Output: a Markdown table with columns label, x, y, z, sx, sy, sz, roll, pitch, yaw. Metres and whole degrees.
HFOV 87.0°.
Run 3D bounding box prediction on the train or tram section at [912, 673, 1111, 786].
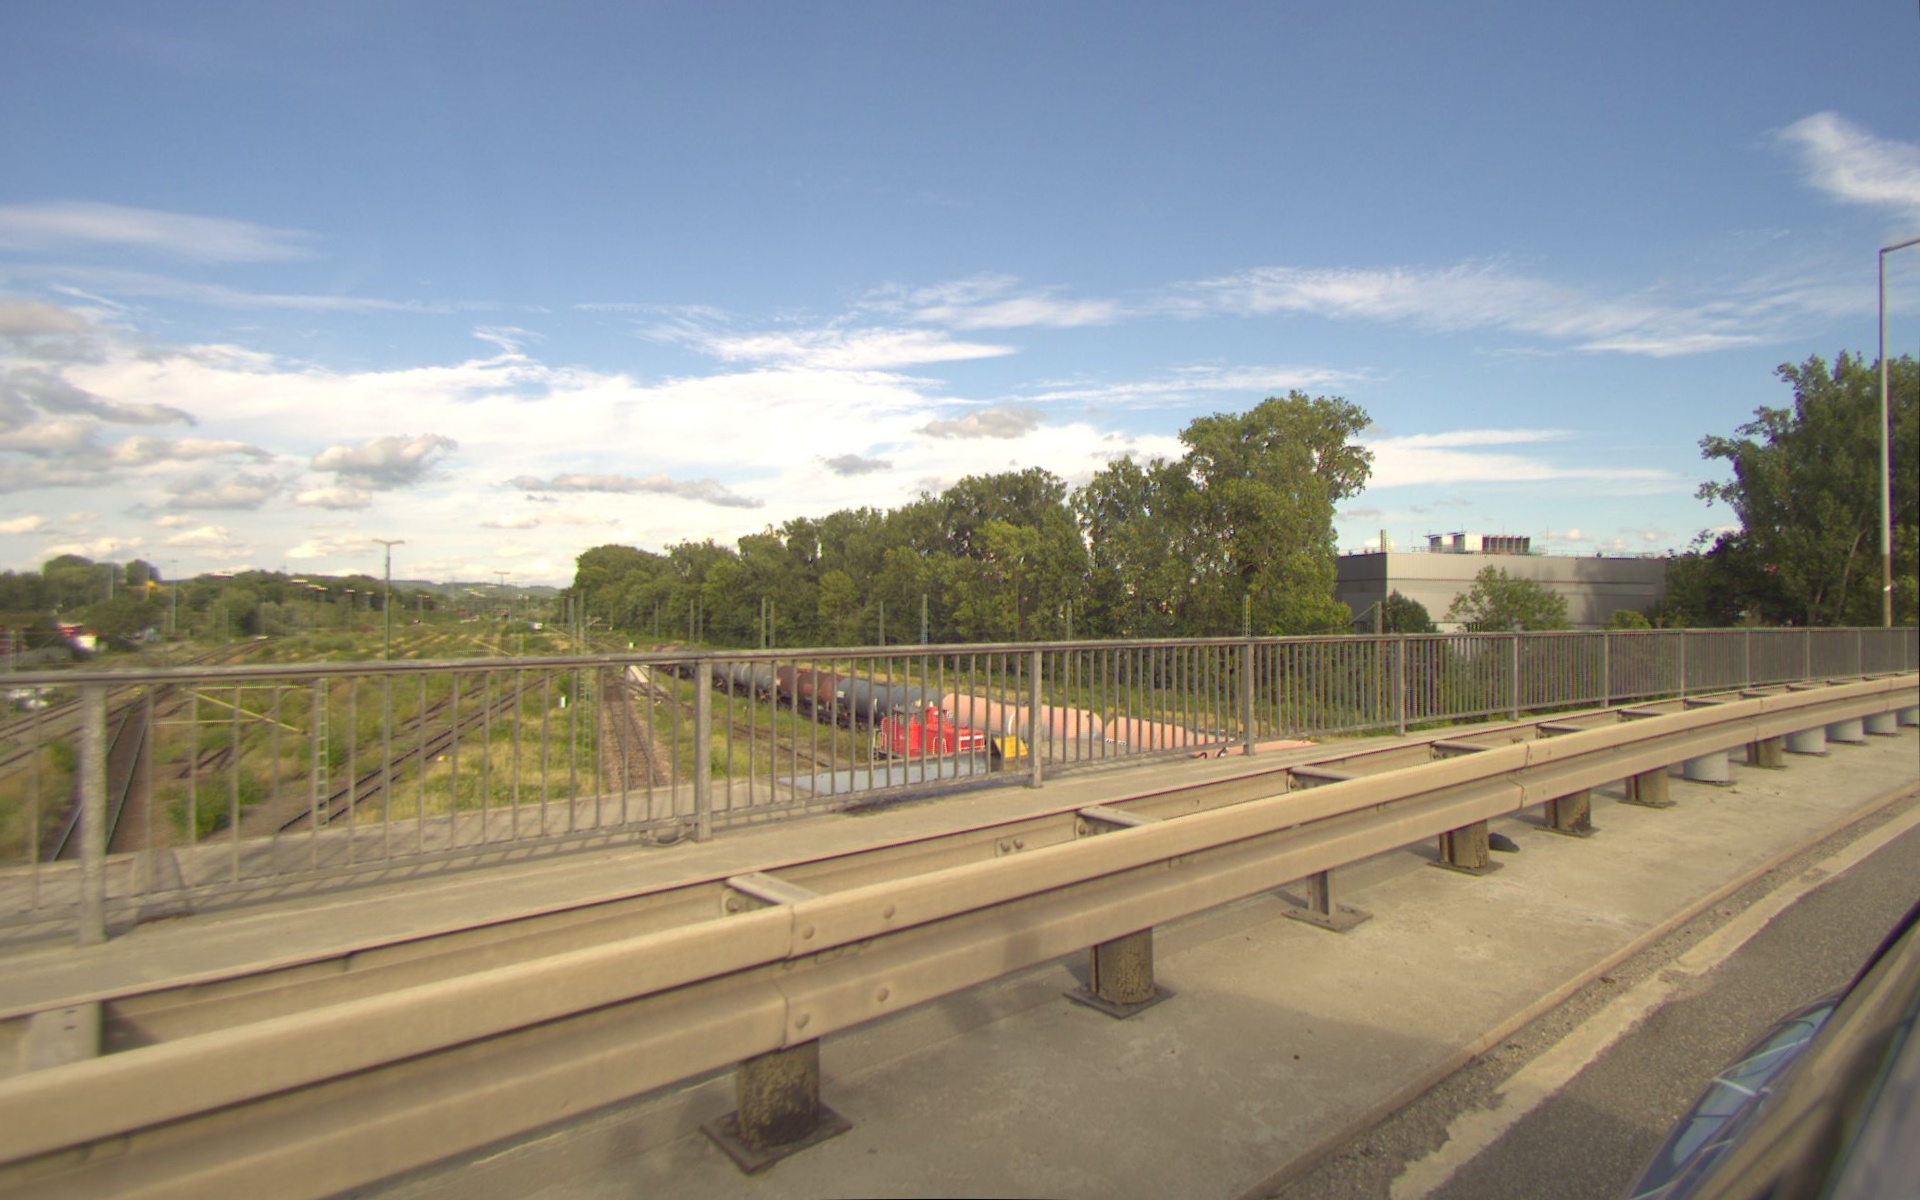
| label | x | y | z | sx | sy | sz | roll | pitch | yaw |
| --- | --- | --- | --- | --- | --- | --- | --- | --- | --- |
| train or tram section | 2.620 | 7.674 | 63.263 | 3.037 | 4.771 | 16.754 | 0 | 1 | -34 |

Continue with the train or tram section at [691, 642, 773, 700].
| label | x | y | z | sx | sy | sz | roll | pitch | yaw |
| --- | --- | --- | --- | --- | --- | --- | --- | --- | --- |
| train or tram section | -24.091 | 7.222 | 105.870 | 3.036 | 4.772 | 16.761 | 0 | 0 | -32 |

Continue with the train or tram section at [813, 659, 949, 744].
| label | x | y | z | sx | sy | sz | roll | pitch | yaw |
| --- | --- | --- | --- | --- | --- | --- | --- | --- | --- |
| train or tram section | -6.438 | 7.446 | 77.368 | 3.036 | 4.772 | 16.761 | 0 | 0 | -32 |

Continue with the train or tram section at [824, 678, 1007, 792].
| label | x | y | z | sx | sy | sz | roll | pitch | yaw |
| --- | --- | --- | --- | --- | --- | --- | --- | --- | --- |
| train or tram section | -3.323 | 7.819 | 62.087 | 3.036 | 4.196 | 17.318 | 0 | 2 | -32 |

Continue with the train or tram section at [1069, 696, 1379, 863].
| label | x | y | z | sx | sy | sz | roll | pitch | yaw |
| --- | --- | --- | --- | --- | --- | --- | --- | --- | --- |
| train or tram section | 11.934 | 8.123 | 49.381 | 3.037 | 4.770 | 16.757 | 0 | 2 | -34 |

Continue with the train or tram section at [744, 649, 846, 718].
| label | x | y | z | sx | sy | sz | roll | pitch | yaw |
| --- | --- | --- | --- | --- | --- | --- | --- | --- | --- |
| train or tram section | -15.249 | 7.308 | 91.555 | 3.036 | 4.772 | 16.761 | 0 | 0 | -32 |
